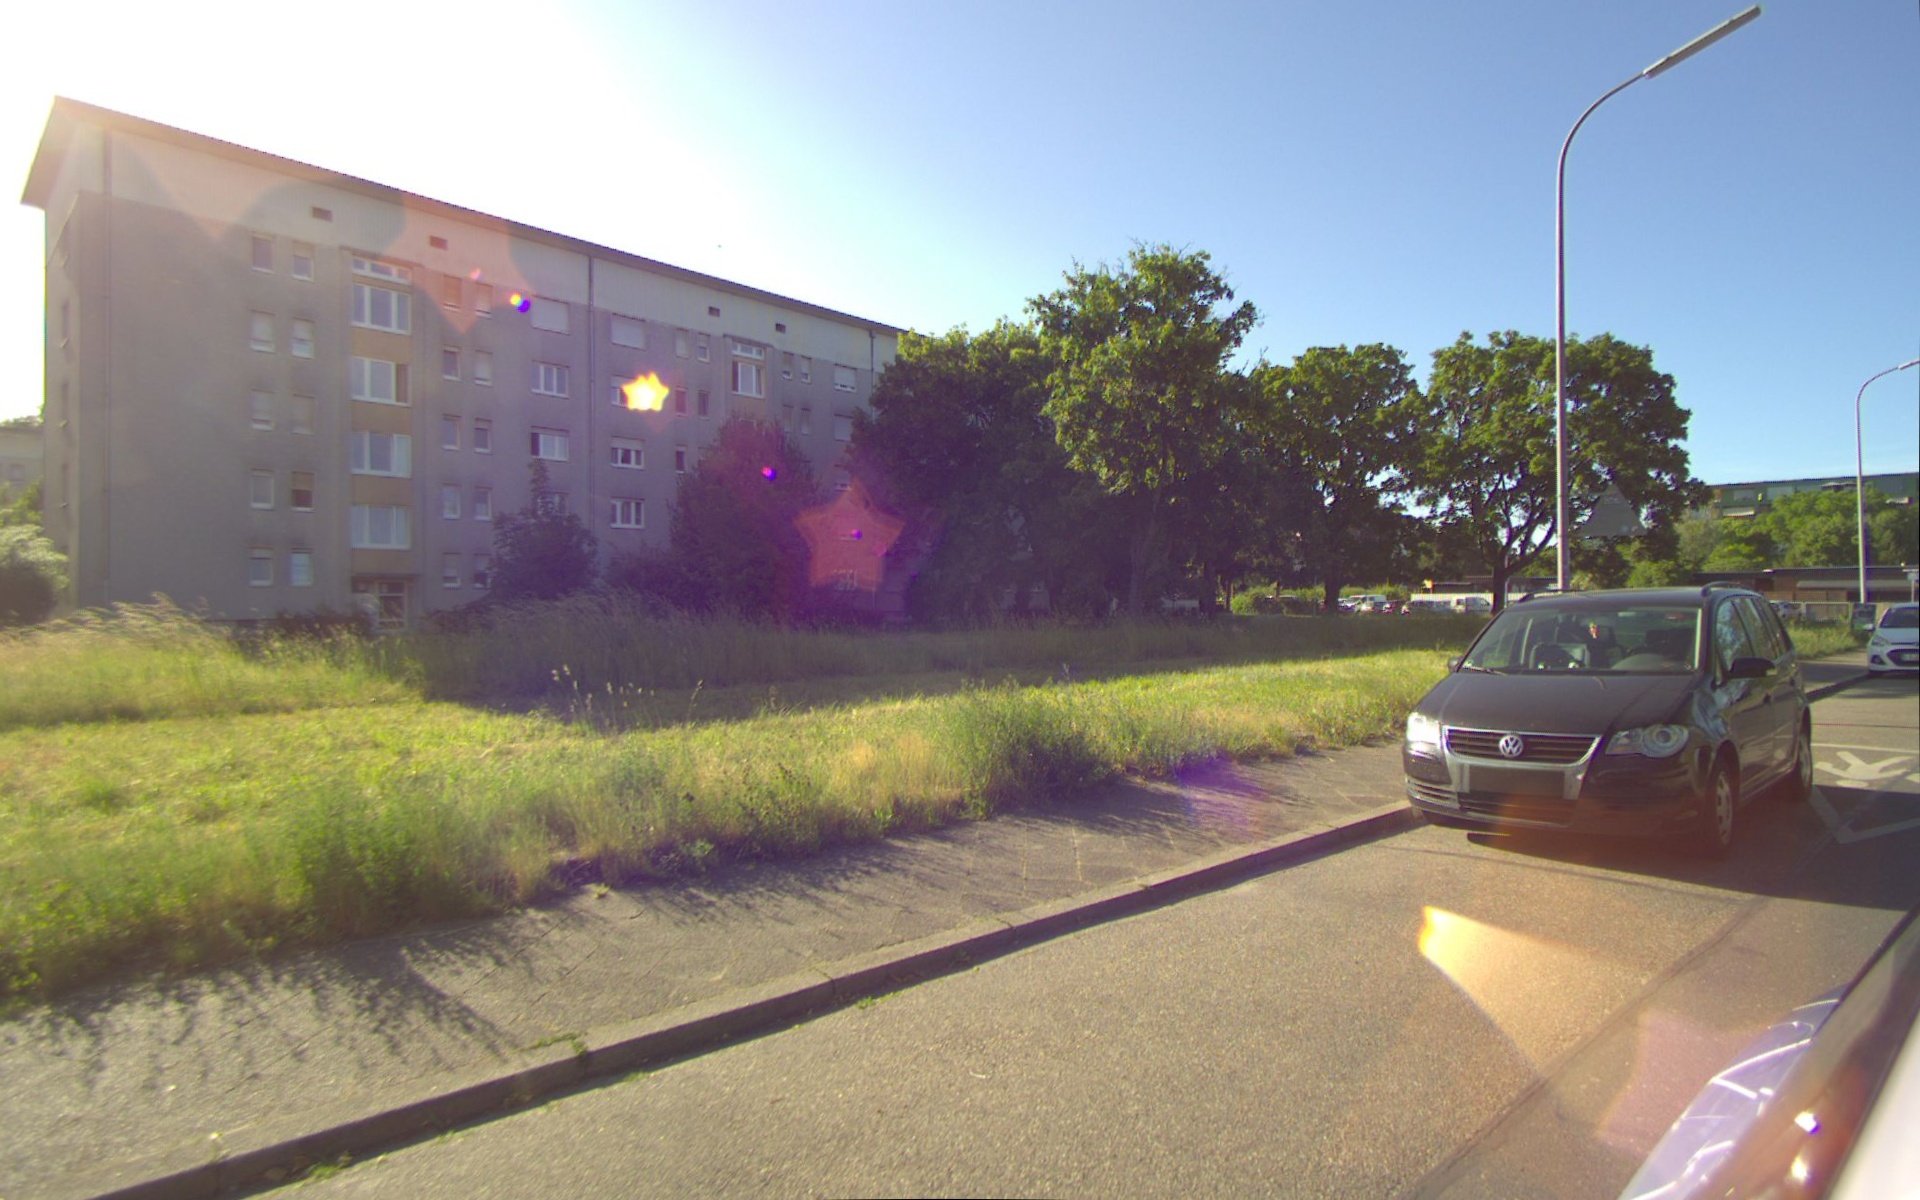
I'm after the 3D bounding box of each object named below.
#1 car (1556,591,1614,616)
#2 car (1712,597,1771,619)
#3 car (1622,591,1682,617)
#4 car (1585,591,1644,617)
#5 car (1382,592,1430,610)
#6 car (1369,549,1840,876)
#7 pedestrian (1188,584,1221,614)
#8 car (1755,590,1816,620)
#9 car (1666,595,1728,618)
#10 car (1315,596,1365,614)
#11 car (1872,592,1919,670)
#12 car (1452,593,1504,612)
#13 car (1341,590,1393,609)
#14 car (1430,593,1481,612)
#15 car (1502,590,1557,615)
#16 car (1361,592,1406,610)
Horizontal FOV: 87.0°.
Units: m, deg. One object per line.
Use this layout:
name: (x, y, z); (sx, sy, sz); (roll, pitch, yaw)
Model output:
car: (47.193, 0.249, 76.382); (3.918, 1.796, 1.960); (0, 0, -27)
car: (51.627, 0.509, 66.861); (3.920, 1.340, 1.783); (0, 0, -30)
car: (48.871, 0.293, 71.445); (3.918, 1.796, 1.864); (0, 0, -27)
car: (47.702, 0.263, 73.738); (3.918, 1.796, 1.960); (0, 0, -27)
car: (40.528, 0.096, 91.928); (3.918, 1.581, 1.960); (0, 0, -27)
car: (4.884, 0.584, 7.372); (4.393, 1.673, 1.840); (0, -1, -43)
pedestrian: (16.636, -0.070, 68.800); (1.668, 2.057, 1.490); (0, 0, -38)
car: (52.884, 0.304, 64.828); (3.922, 1.883, 1.958); (0, 0, -33)
car: (50.731, 0.435, 69.627); (3.918, 1.488, 1.868); (0, 0, -27)
car: (31.972, 0.370, 85.203); (1.958, 1.469, 3.646); (0, 0, -23)
car: (19.907, 0.574, 20.477); (3.848, 1.499, 1.654); (0, -2, -41)
car: (43.492, 0.202, 84.968); (3.918, 1.581, 1.960); (0, 0, -27)
car: (38.859, -0.067, 96.624); (4.605, 1.767, 1.961); (0, 0, -23)
car: (42.595, 0.166, 86.960); (3.918, 1.581, 1.960); (0, 0, -27)
car: (45.486, 0.173, 80.867); (3.919, 1.795, 1.960); (-2, 1, -27)
car: (39.416, 0.074, 94.228); (3.918, 1.581, 1.803); (0, 0, -27)
